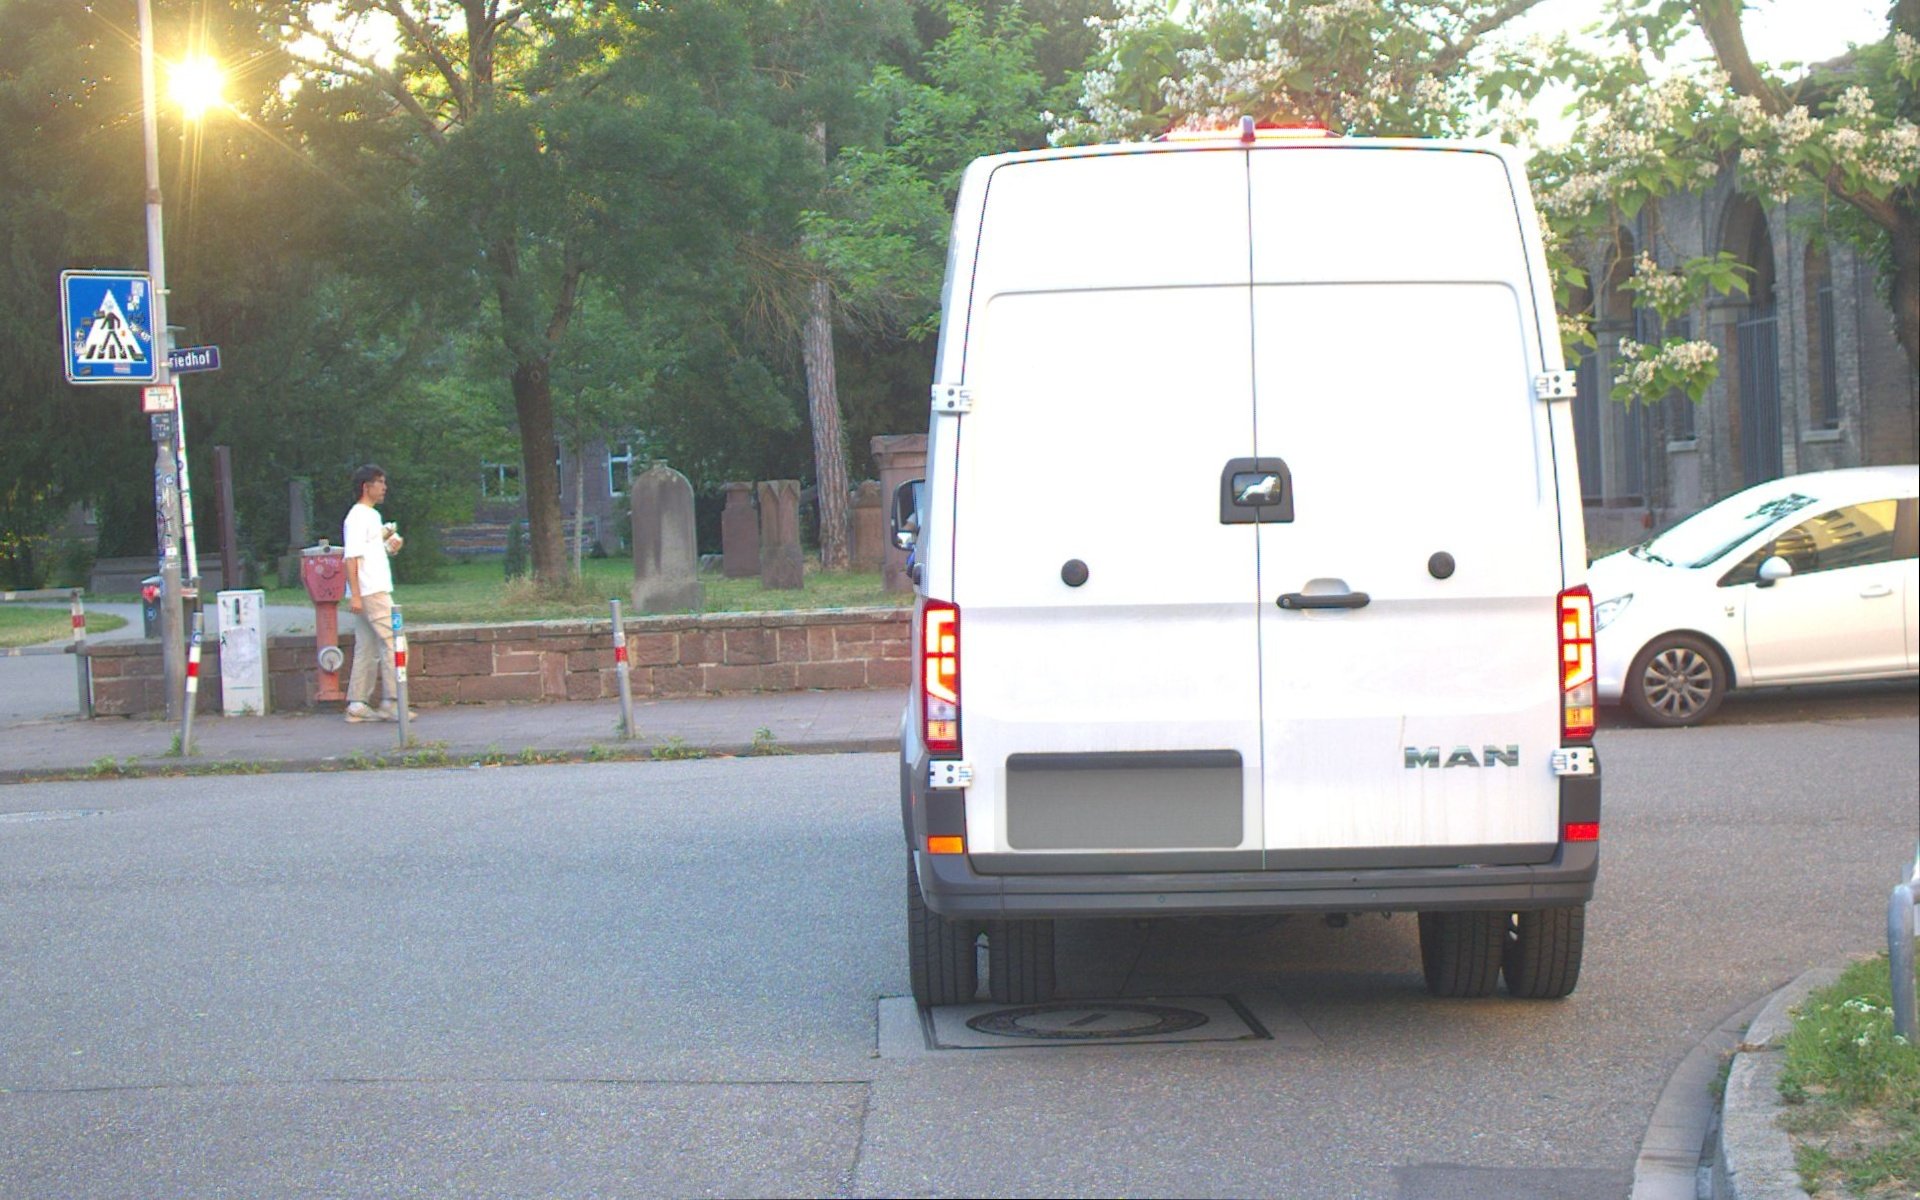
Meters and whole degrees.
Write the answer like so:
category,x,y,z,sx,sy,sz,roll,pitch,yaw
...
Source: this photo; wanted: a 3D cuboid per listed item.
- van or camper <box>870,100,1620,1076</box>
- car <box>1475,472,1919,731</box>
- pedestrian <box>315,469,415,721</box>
category,x,y,z,sx,sy,sz,roll,pitch,yaw
van or camper,0.870,-0.086,12.428,1.993,2.609,6.403,0,1,2
car,5.531,-0.039,22.716,3.854,1.568,1.958,-2,2,-3
pedestrian,-4.321,-0.045,24.985,0.593,1.803,0.621,-1,1,0
